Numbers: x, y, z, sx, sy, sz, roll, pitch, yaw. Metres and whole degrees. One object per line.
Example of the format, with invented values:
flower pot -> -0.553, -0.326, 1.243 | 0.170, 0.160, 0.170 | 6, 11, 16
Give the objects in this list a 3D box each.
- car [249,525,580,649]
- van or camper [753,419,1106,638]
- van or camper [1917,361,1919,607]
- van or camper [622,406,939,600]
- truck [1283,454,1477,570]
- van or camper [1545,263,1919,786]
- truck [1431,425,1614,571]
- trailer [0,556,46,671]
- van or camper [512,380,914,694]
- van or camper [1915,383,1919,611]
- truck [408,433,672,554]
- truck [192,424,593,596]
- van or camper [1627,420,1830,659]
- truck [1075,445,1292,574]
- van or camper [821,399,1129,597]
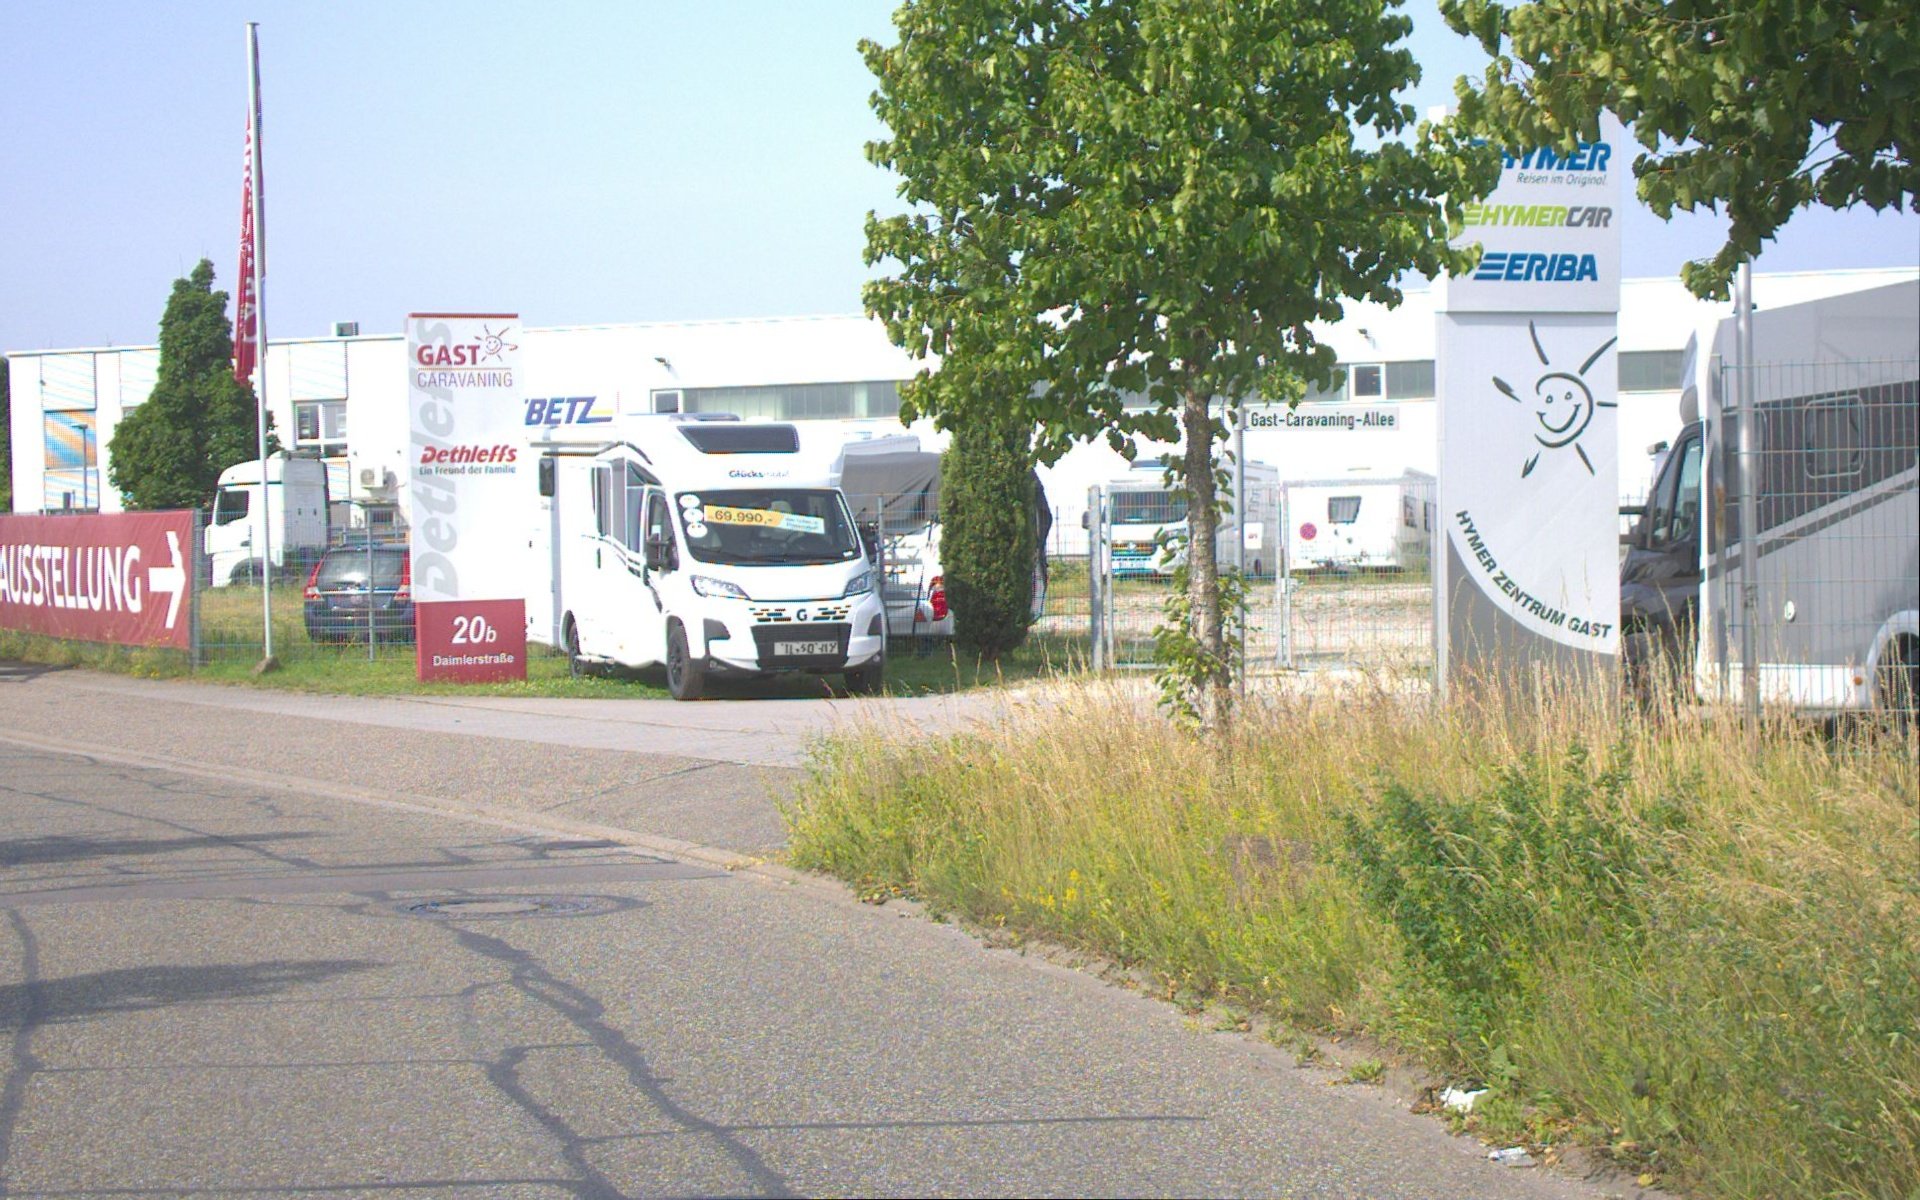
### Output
car -> -7.154, -0.196, 45.397 | 2.169, 1.471, 3.993 | 0, 2, 33
van or camper -> -0.242, -0.968, 43.470 | 2.485, 2.550, 6.621 | 0, 2, 18
van or camper -> 12.397, -0.758, 30.640 | 7.262, 3.021, 2.584 | -1, 1, 12
van or camper -> -2.916, -1.717, 58.884 | 2.800, 3.073, 7.964 | 0, 2, 17
truck -> 8.868, -1.876, 71.852 | 2.453, 2.257, 7.995 | 0, 2, 18
van or camper -> 6.019, -0.461, 20.316 | 2.348, 2.838, 7.344 | -1, 1, -13
truck -> 11.688, -2.130, 70.868 | 2.453, 2.816, 7.995 | 0, 2, 18
trailer -> -14.782, 0.169, 46.368 | 2.623, 1.383, 9.456 | -4, 3, -28
van or camper -> -2.750, -0.694, 36.004 | 2.330, 2.933, 6.973 | -2, 2, -20
van or camper -> 12.298, -1.177, 39.678 | 2.322, 2.696, 6.605 | -1, 1, 15
truck -> -9.009, -2.333, 74.792 | 2.453, 2.462, 7.995 | 0, 2, 18
truck -> -13.706, -2.160, 83.009 | 9.290, 3.958, 2.457 | 0, 2, 16
van or camper -> 8.970, -0.750, 39.763 | 1.995, 2.525, 6.147 | -1, 2, 15
truck -> 4.685, -1.889, 70.418 | 2.453, 2.462, 7.995 | 0, 2, 18
van or camper -> 0.404, -1.759, 57.862 | 2.951, 3.073, 7.964 | 0, 2, 17
